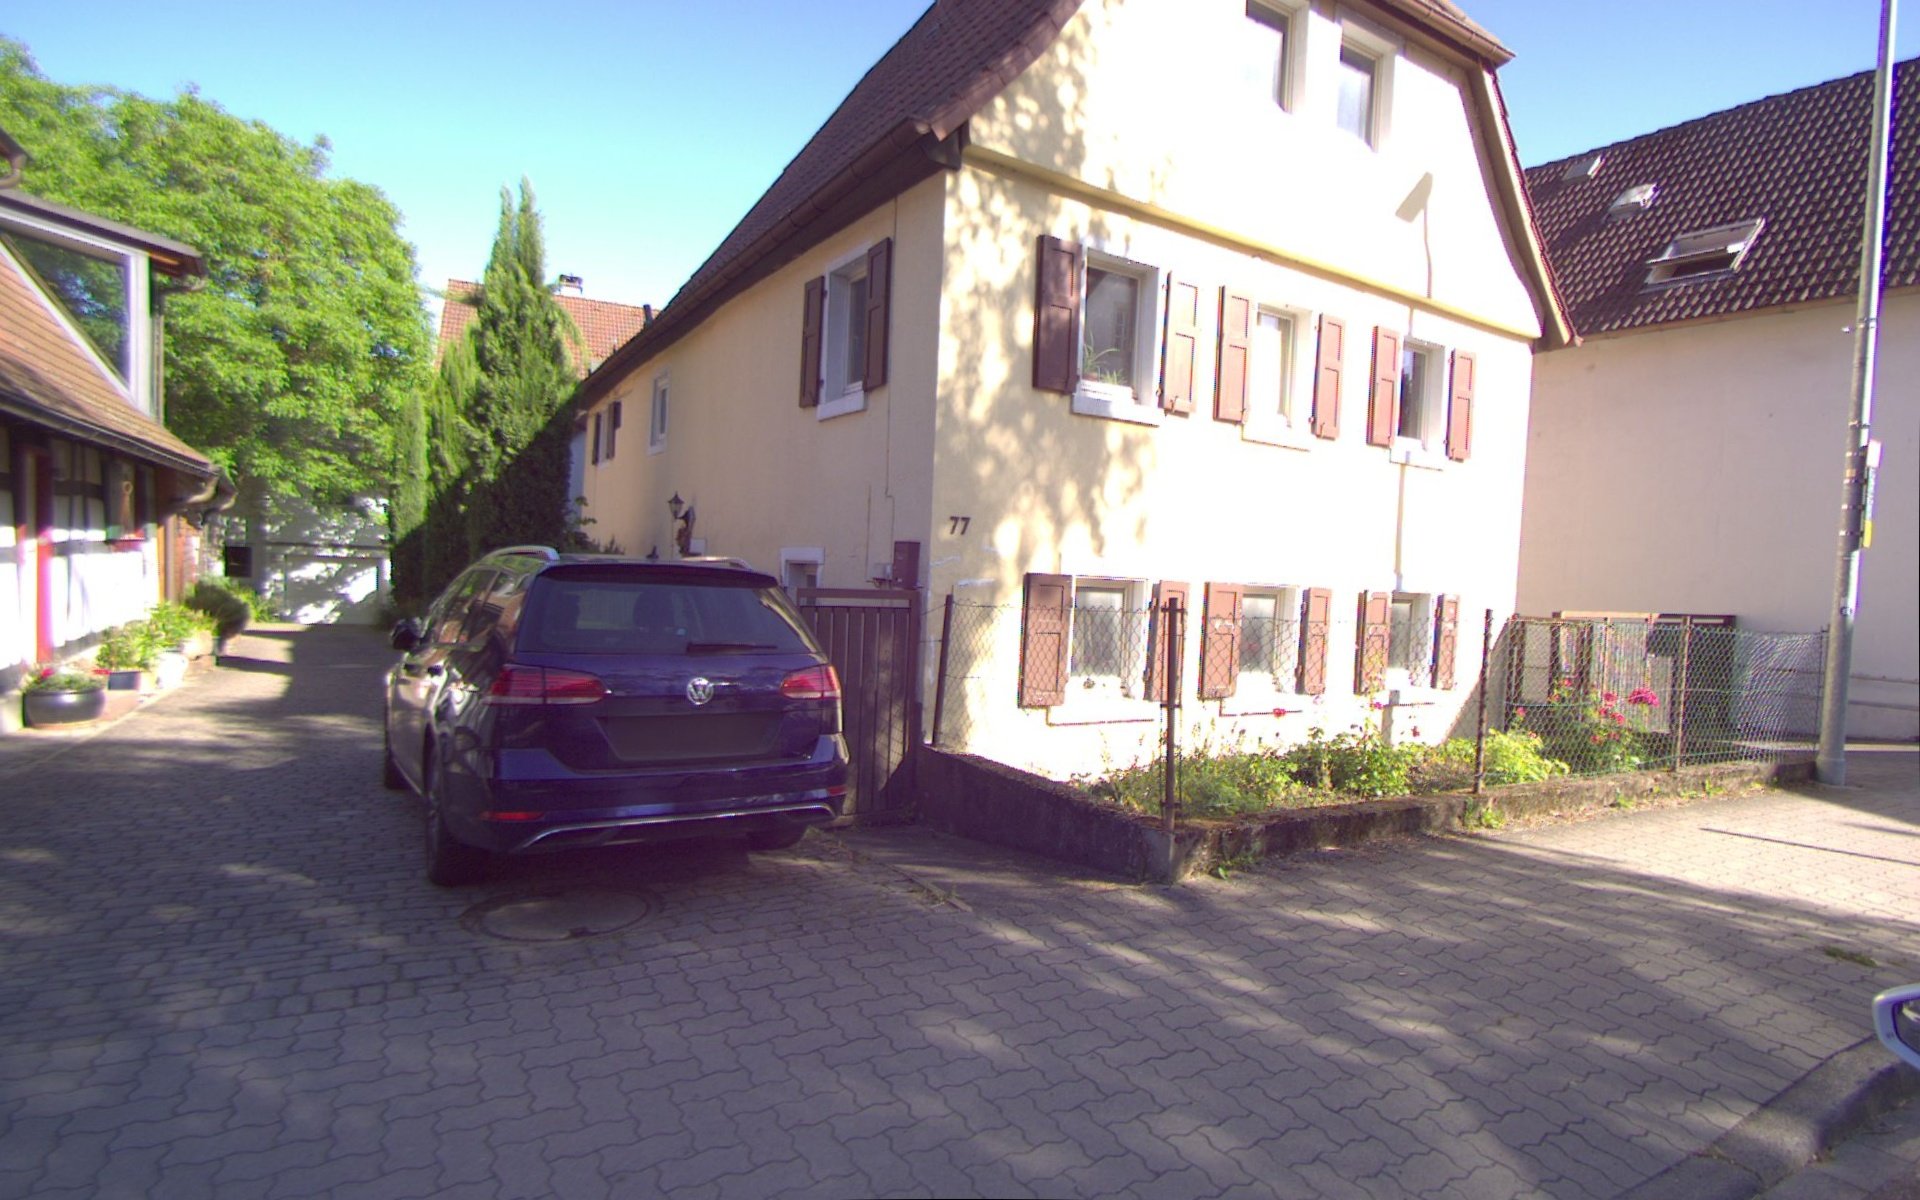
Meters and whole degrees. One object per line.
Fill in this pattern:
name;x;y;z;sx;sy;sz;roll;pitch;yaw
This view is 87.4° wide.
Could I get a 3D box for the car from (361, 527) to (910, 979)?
car;-2.121;0.496;5.536;1.829;1.481;4.133;1;0;-34
